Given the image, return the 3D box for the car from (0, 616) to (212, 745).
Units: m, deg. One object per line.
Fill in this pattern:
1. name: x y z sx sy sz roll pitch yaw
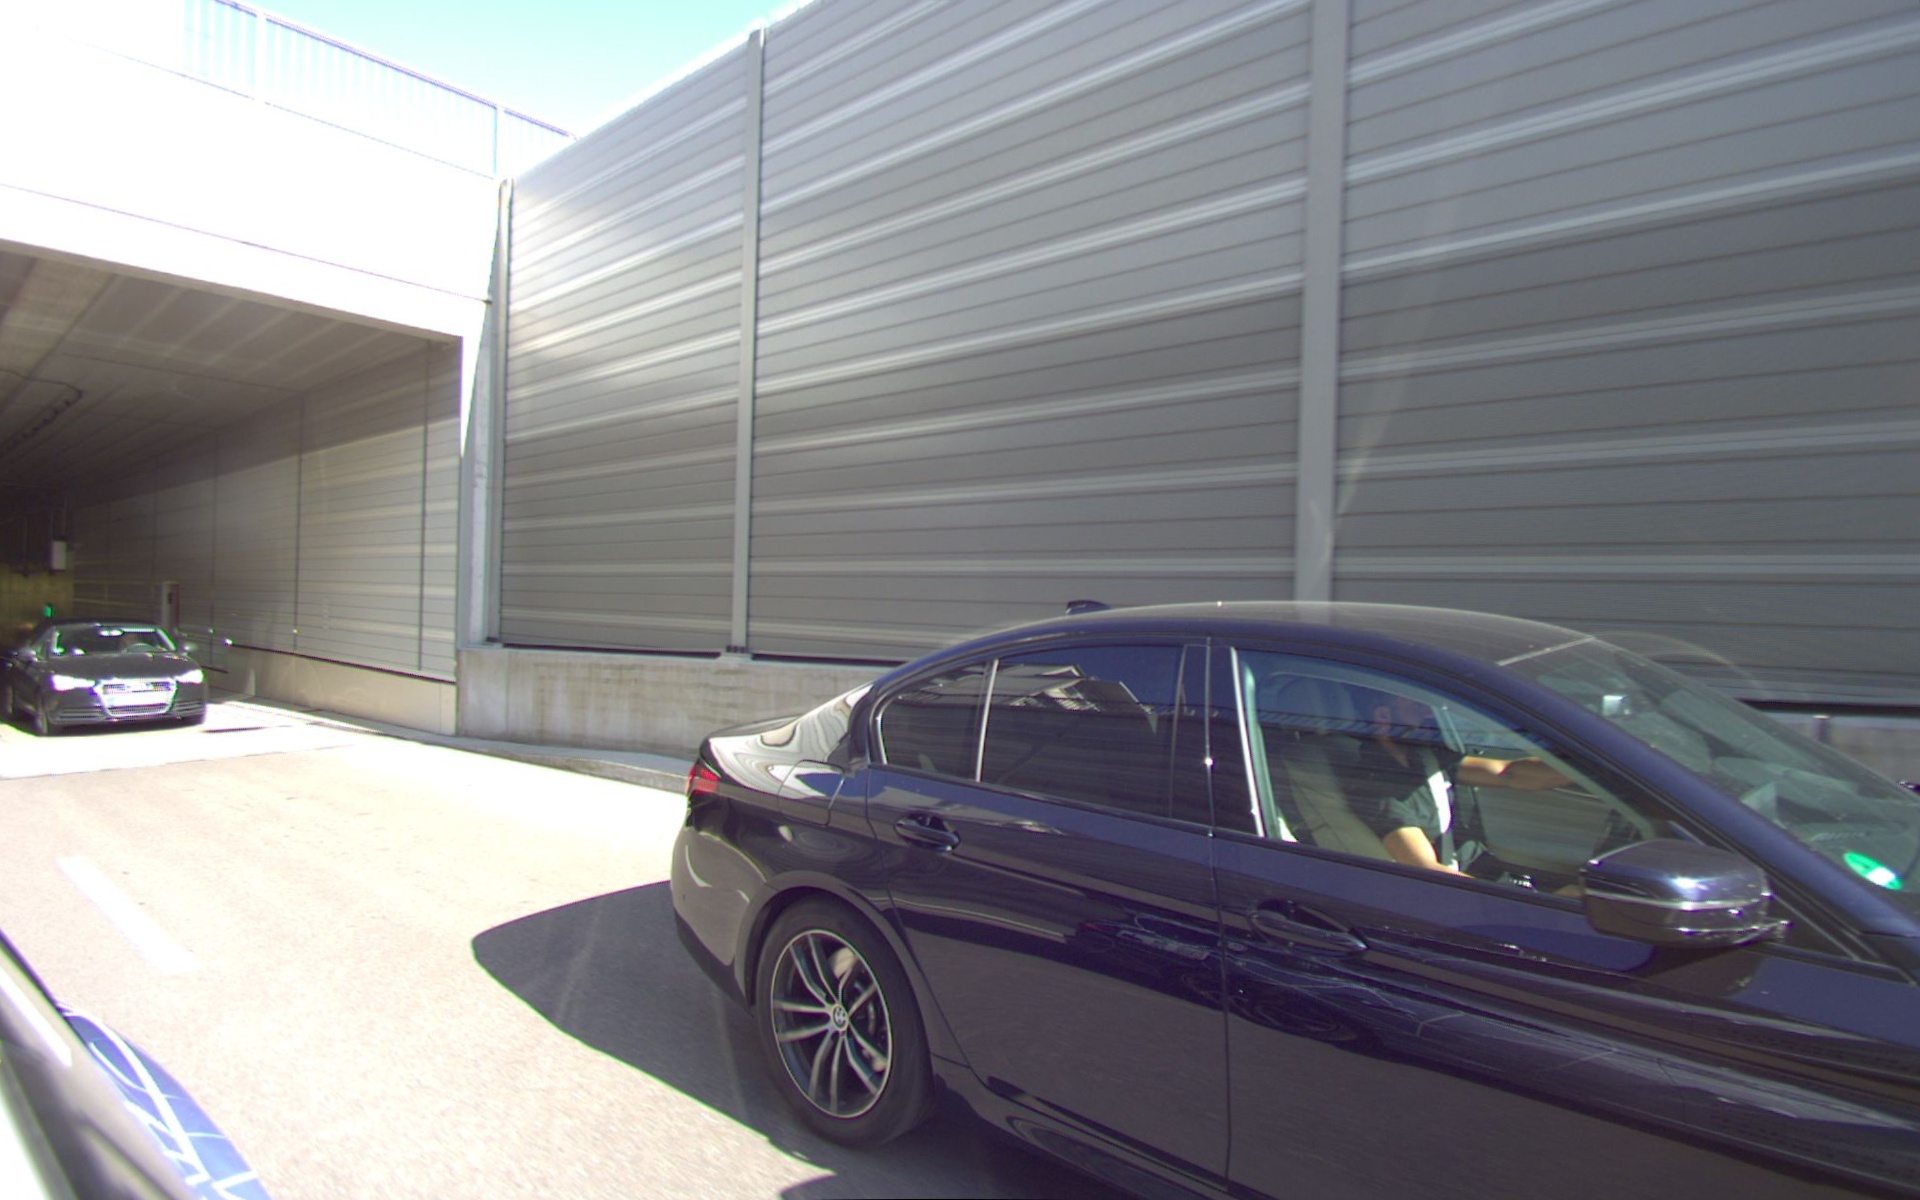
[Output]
1. car: -11.523 0.954 13.522 3.886 1.429 1.678 0 0 41

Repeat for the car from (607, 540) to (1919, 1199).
1. car: 1.300 0.666 2.387 4.999 1.450 1.790 -2 -1 41
